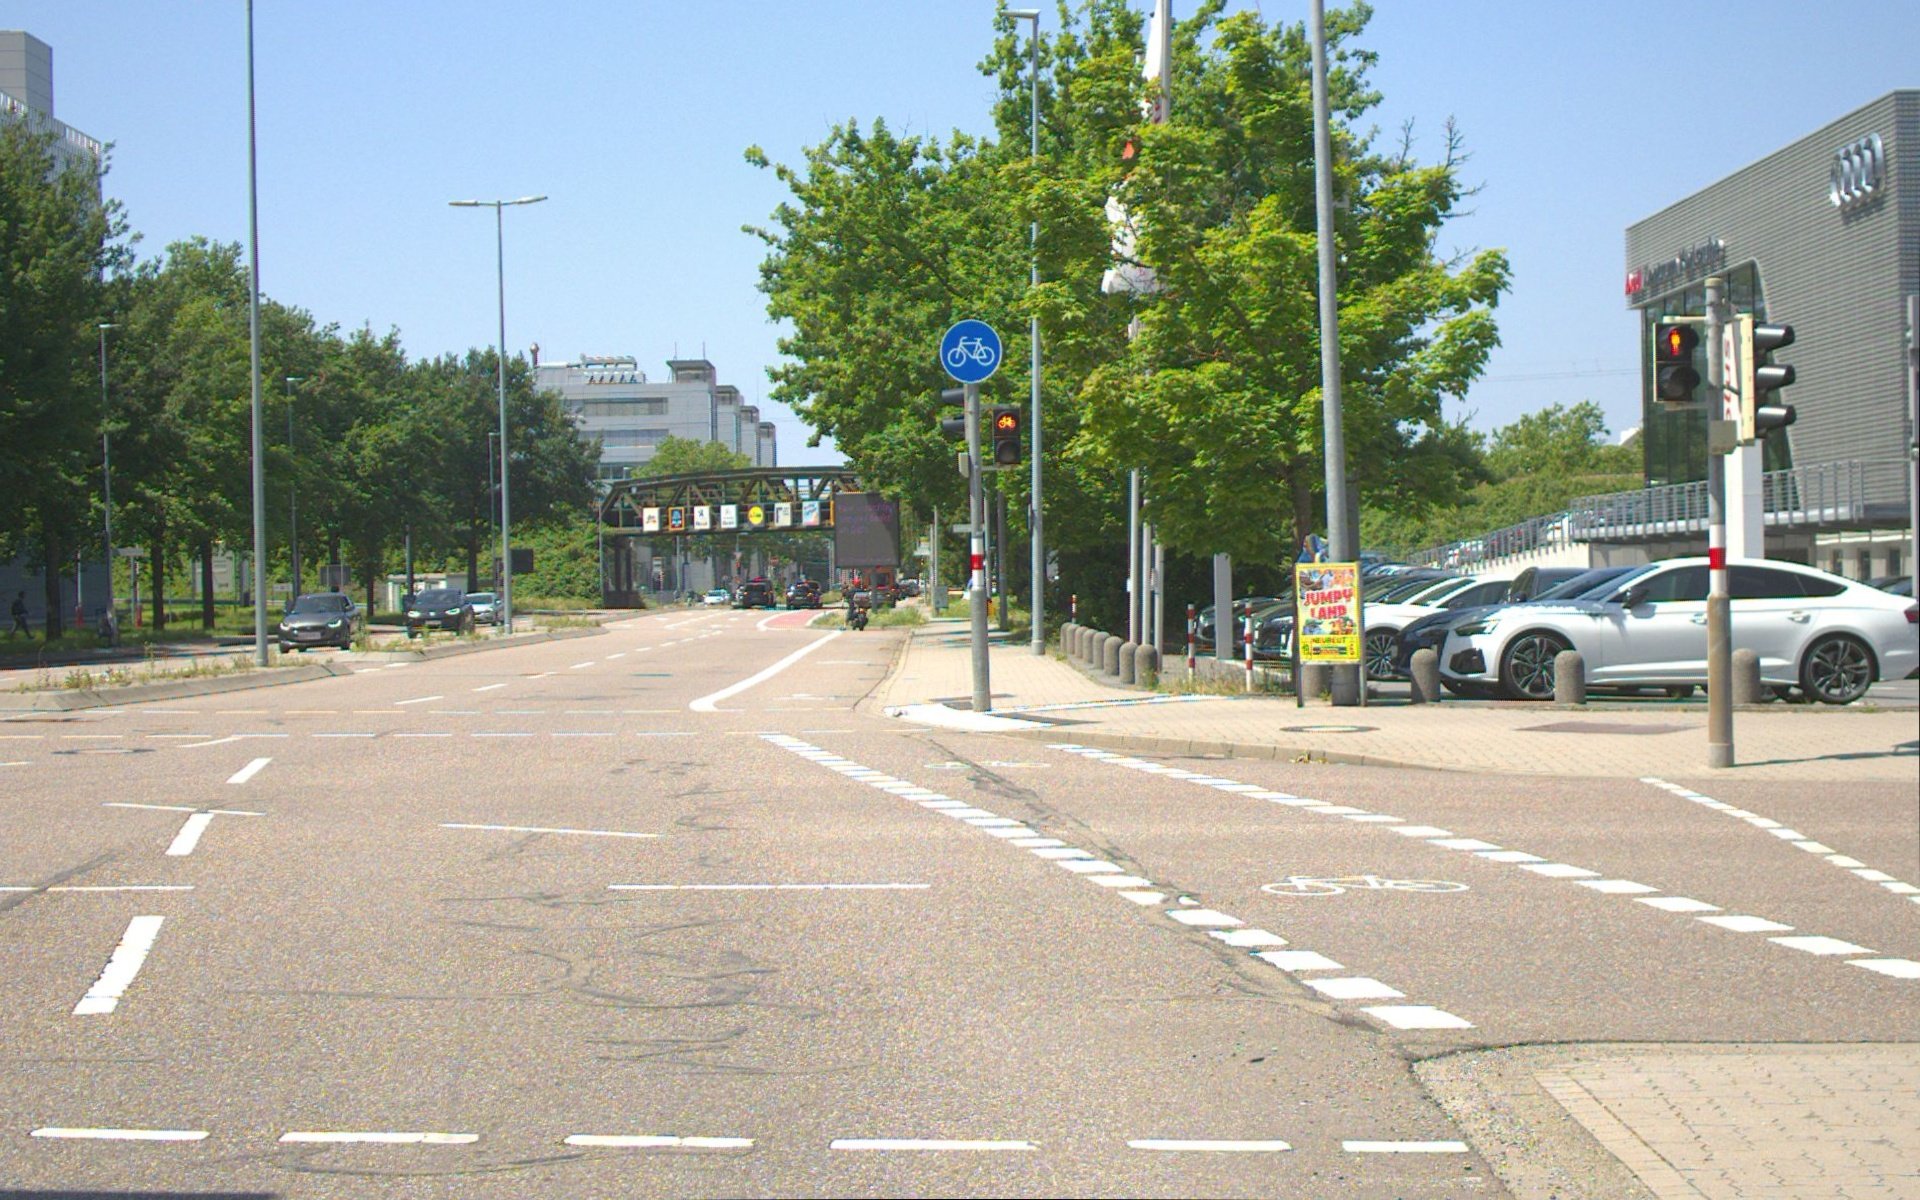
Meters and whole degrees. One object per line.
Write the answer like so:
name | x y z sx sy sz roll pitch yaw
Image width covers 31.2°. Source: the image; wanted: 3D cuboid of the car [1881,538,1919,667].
car | 16.846 -0.009 54.382 3.987 2.007 2.000 -1 1 1

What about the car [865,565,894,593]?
car | -5.152 -1.339 220.766 1.772 1.722 4.000 -1 0 -1

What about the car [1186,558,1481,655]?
car | 6.348 0.096 58.830 4.741 1.452 2.000 -2 1 -2

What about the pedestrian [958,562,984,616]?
pedestrian | 0.306 -0.304 96.317 0.668 1.505 0.736 -1 0 -1

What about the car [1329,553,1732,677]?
car | 7.209 0.168 43.792 4.741 1.452 2.000 -1 1 -2

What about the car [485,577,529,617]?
car | -19.653 -0.132 149.287 1.648 1.647 4.164 -1 1 -5

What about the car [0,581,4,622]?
car | -44.457 0.016 154.561 1.993 1.804 4.029 1 1 -28

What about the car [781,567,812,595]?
car | -10.454 -1.221 220.183 1.772 1.722 4.000 -1 0 -1

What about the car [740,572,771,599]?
car | -13.403 -0.957 225.572 1.772 1.722 4.000 -1 0 -1

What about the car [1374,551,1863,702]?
car | 6.808 0.276 35.935 4.741 1.452 2.000 -1 0 2

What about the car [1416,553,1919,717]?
car | 6.900 0.319 33.212 4.741 1.452 2.000 -1 1 2

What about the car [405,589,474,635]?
car | -16.813 0.370 111.119 1.684 1.406 3.665 -1 0 -1

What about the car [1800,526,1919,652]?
car | 16.145 -0.218 56.878 3.987 2.007 2.000 -1 1 1

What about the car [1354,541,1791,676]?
car | 7.048 0.080 39.937 4.741 1.452 2.000 -1 1 2

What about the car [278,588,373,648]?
car | -16.137 0.441 87.620 1.732 1.422 3.706 -2 0 -1

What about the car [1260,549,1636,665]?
car | 6.560 0.075 46.558 4.741 1.452 2.000 -1 1 -2

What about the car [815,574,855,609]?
car | -3.812 -0.263 105.245 1.137 1.038 2.308 -1 1 -1
